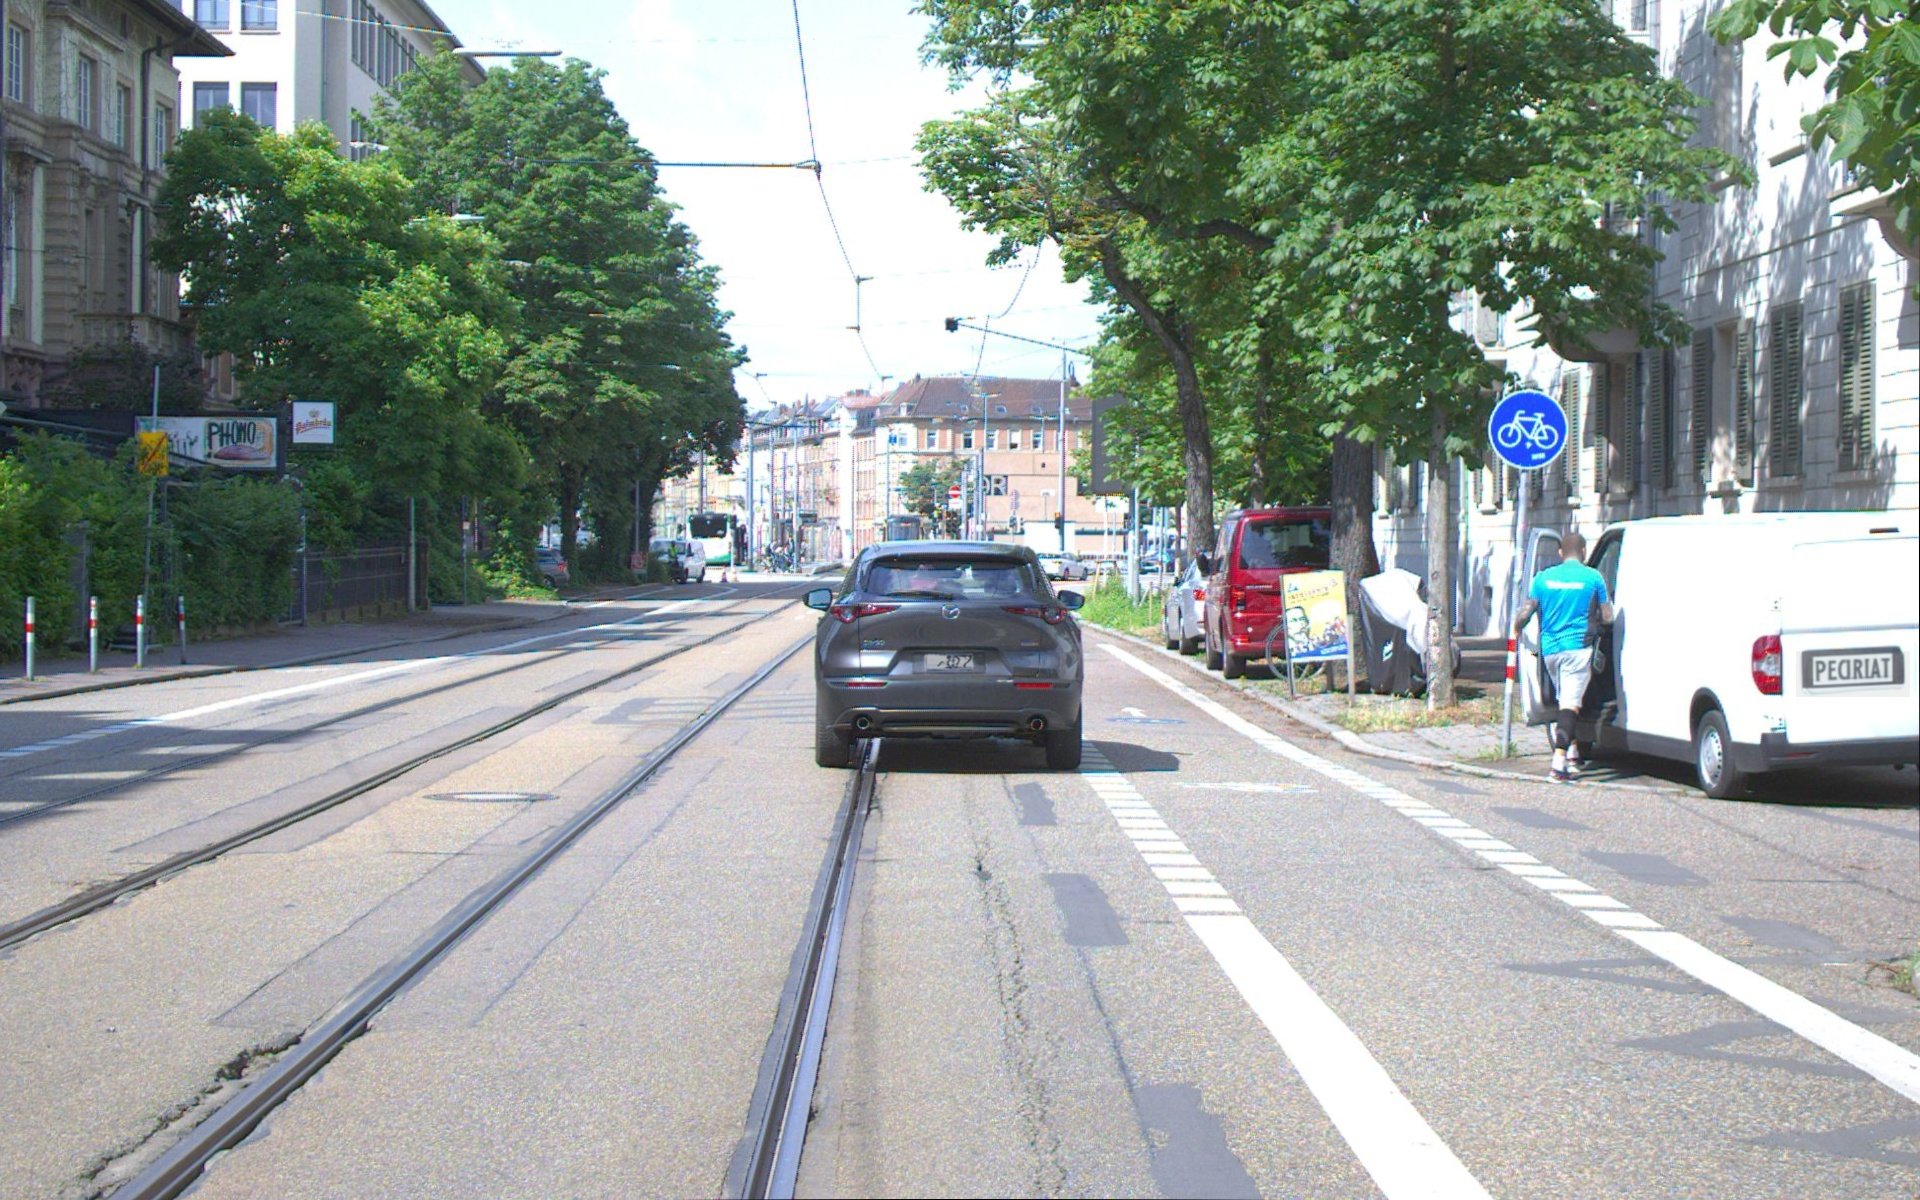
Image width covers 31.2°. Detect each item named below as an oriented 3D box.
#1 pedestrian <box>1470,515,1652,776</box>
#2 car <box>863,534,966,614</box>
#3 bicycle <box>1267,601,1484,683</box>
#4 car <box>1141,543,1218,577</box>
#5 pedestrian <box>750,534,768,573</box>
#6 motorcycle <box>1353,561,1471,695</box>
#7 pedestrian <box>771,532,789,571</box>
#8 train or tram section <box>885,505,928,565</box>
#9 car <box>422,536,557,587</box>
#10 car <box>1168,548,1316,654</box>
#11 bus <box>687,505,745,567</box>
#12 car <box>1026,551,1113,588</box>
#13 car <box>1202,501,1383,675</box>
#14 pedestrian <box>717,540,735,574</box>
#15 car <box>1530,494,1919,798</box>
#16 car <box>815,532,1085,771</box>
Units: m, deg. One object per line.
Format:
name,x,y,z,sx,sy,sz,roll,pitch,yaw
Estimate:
pedestrian,4.318,0.314,24.732,0.959,1.829,0.818,0,1,-28
car,-0.957,-0.554,71.094,1.993,1.523,4.000,3,1,-1
bicycle,4.529,0.454,37.564,2.275,0.858,0.672,1,1,-1
car,11.773,-2.151,184.261,3.806,1.612,1.638,2,1,-31
pedestrian,-10.482,-2.445,179.373,0.884,2.007,0.618,1,1,-4
motorcycle,4.490,0.252,34.322,0.794,1.267,2.422,1,1,-1
pedestrian,-9.376,-2.547,179.282,0.884,2.007,0.618,1,1,-4
train or tram section,-3.389,-4.160,220.124,2.571,3.760,13.026,0,1,0
car,-13.713,-1.123,100.336,3.746,1.283,1.611,3,1,-4
car,3.958,-0.010,48.734,1.720,1.419,3.590,1,1,-1
bus,-14.291,-3.731,200.790,2.688,3.409,11.020,3,1,-7
car,5.303,-1.486,166.571,3.805,1.612,1.638,3,1,-18
car,3.921,-0.172,41.108,1.720,1.962,4.207,1,1,0
pedestrian,-10.551,-1.930,154.888,0.751,1.505,0.824,1,1,-5
car,5.643,0.243,24.429,1.786,1.932,4.992,0,1,-7
car,-0.098,0.302,23.955,1.720,1.521,3.590,1,1,-1
